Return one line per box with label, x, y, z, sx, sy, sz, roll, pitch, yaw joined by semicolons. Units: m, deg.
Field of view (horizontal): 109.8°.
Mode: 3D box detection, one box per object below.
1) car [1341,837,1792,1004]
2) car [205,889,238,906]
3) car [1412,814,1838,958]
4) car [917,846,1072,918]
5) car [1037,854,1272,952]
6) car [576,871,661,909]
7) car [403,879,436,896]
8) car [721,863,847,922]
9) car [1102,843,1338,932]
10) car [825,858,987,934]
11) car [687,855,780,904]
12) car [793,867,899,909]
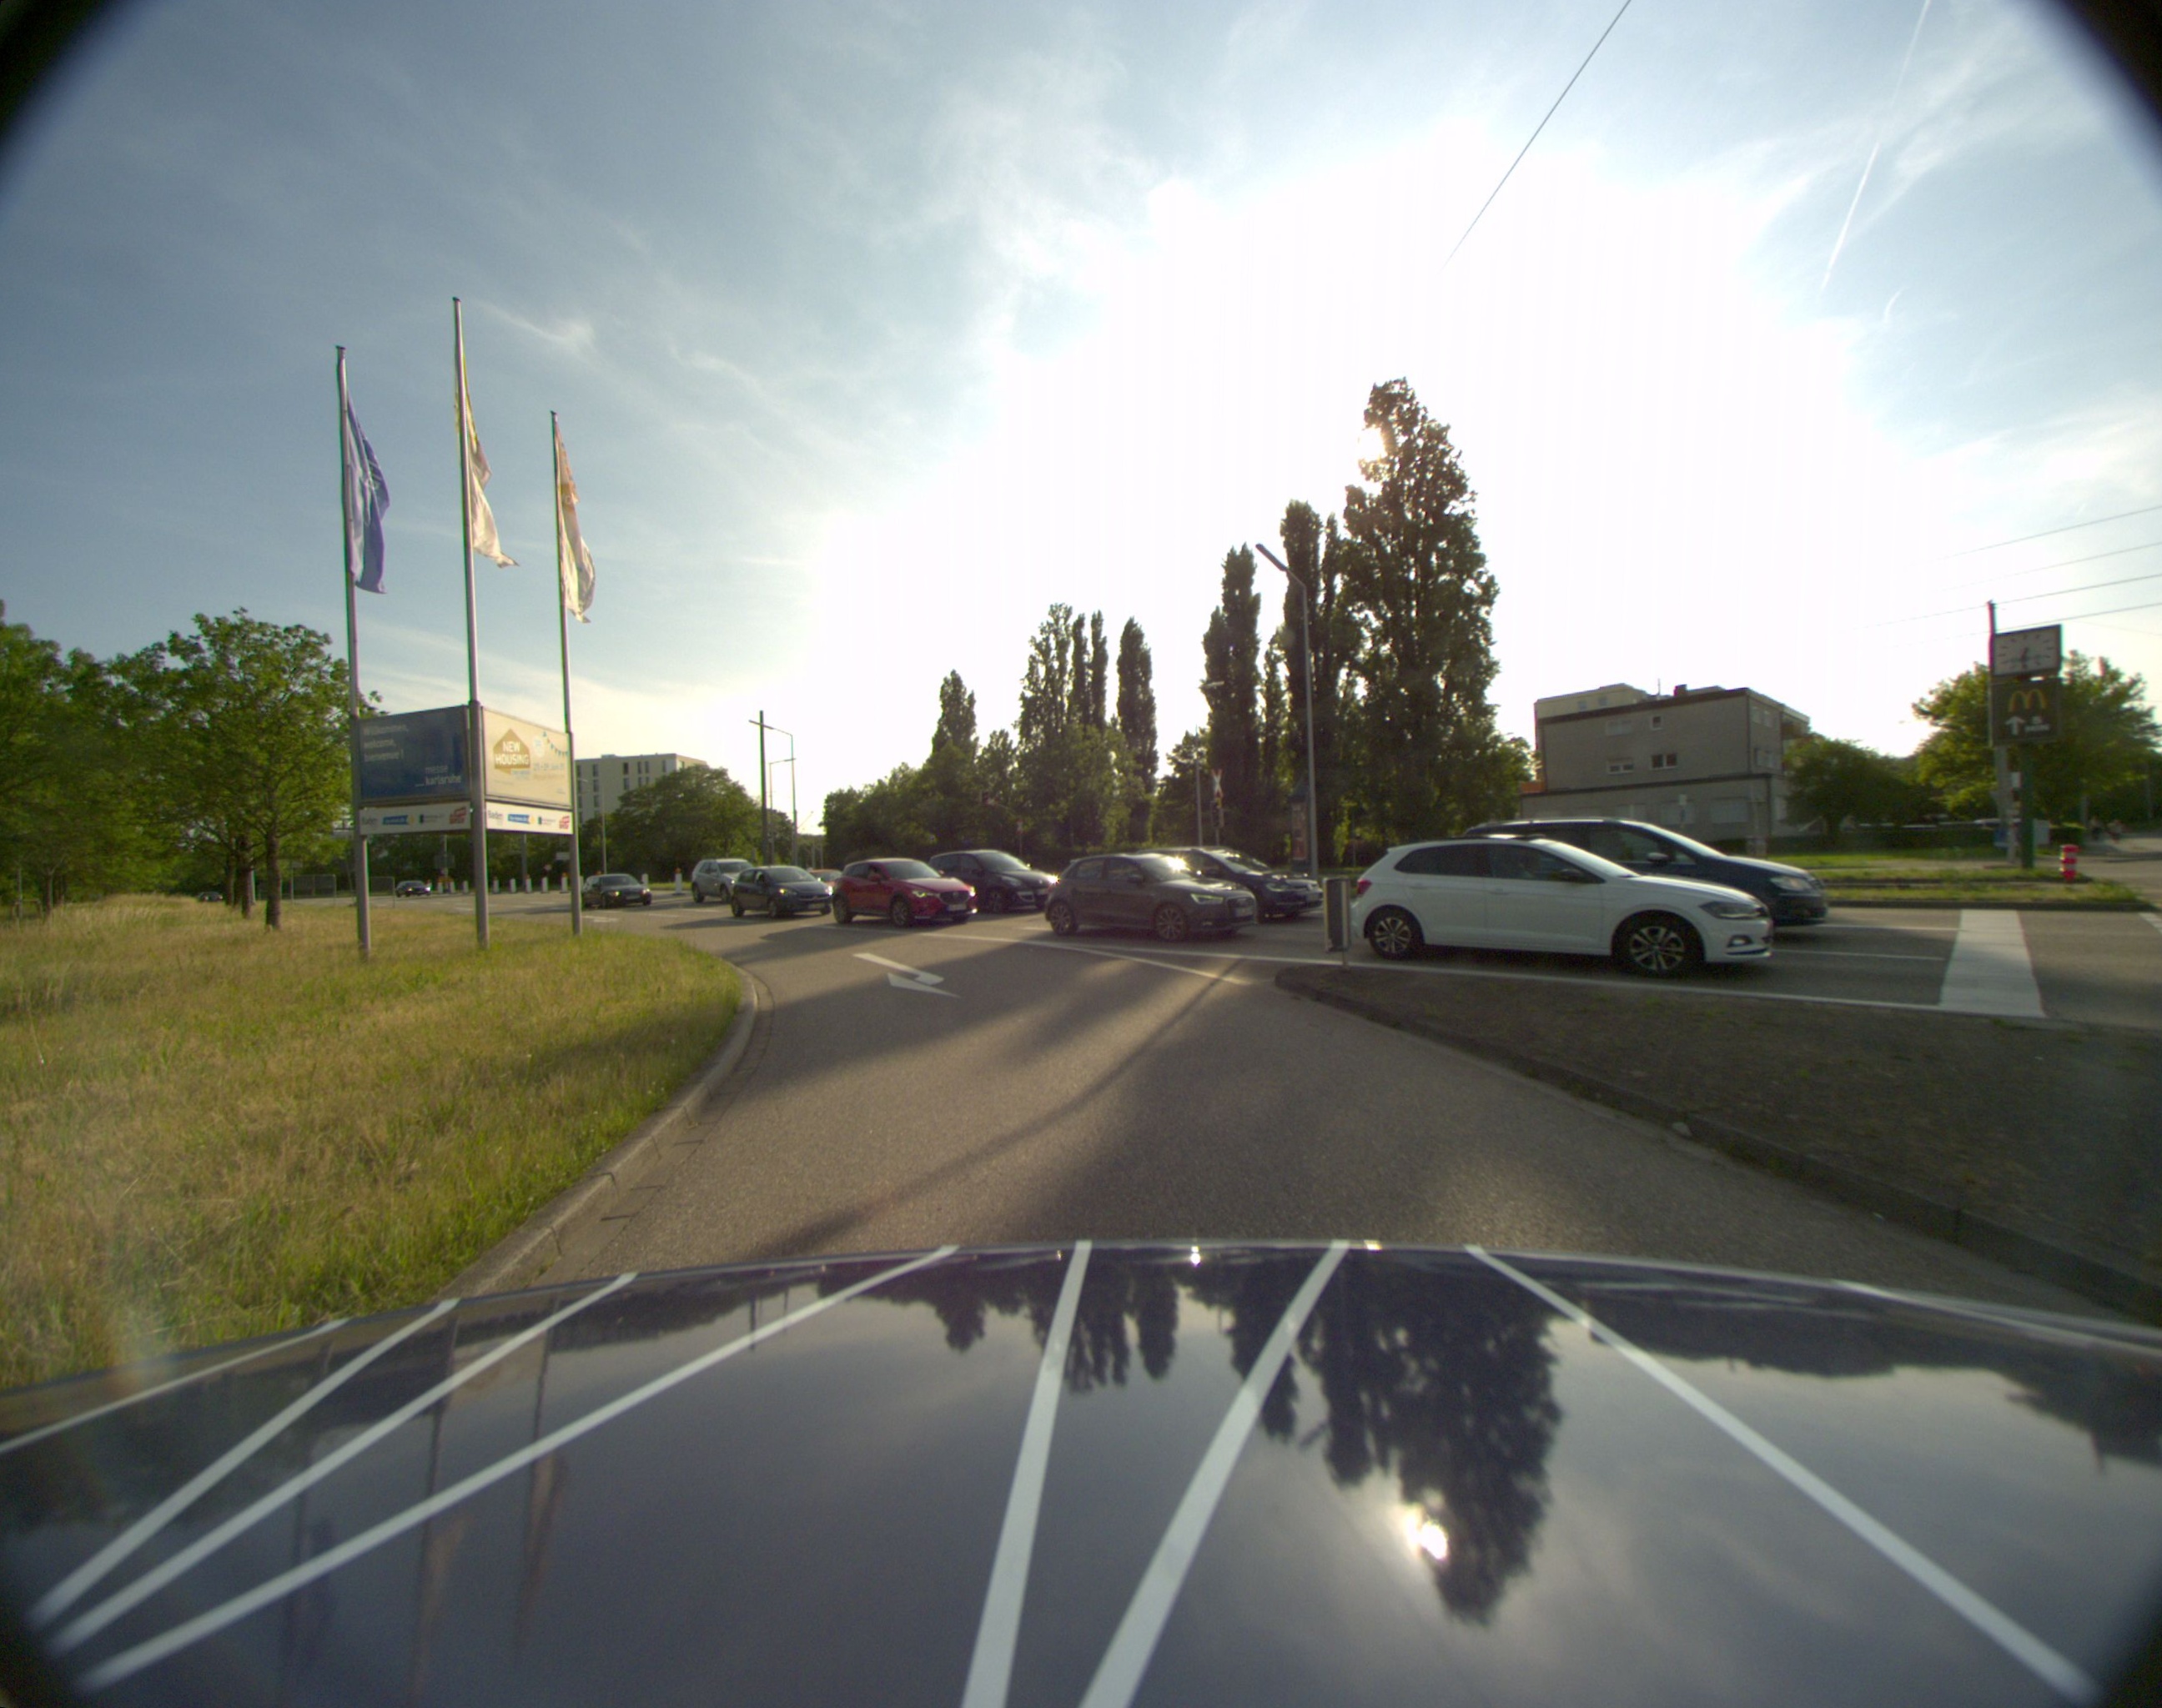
car;5.251;0.612;8.584;4.003;1.435;1.665;-2;0;44
car;-113.030;5.670;99.900;4.167;2.002;1.865;-2;2;29
car;7.451;0.402;10.872;1.514;1.641;4.731;-2;0;-44
car;-2.372;0.724;20.255;4.073;1.661;1.772;-2;1;42
car;1.145;0.767;13.055;1.650;1.389;3.816;-2;0;-45
car;-19.839;1.532;32.534;4.344;1.377;1.906;-2;2;43
car;-62.157;3.134;71.406;3.898;1.447;1.900;-2;0;43
car;-8.769;1.097;22.241;4.211;1.497;1.751;-2;0;43
car;2.689;0.636;15.544;1.708;1.499;4.541;-4;1;-45
car;-4.169;0.936;17.804;3.967;1.543;1.715;-2;0;43
car;-14.559;1.051;31.750;4.344;1.813;1.906;-2;2;43
car;-8.027;1.134;25.839;3.836;1.200;1.740;-2;2;44
